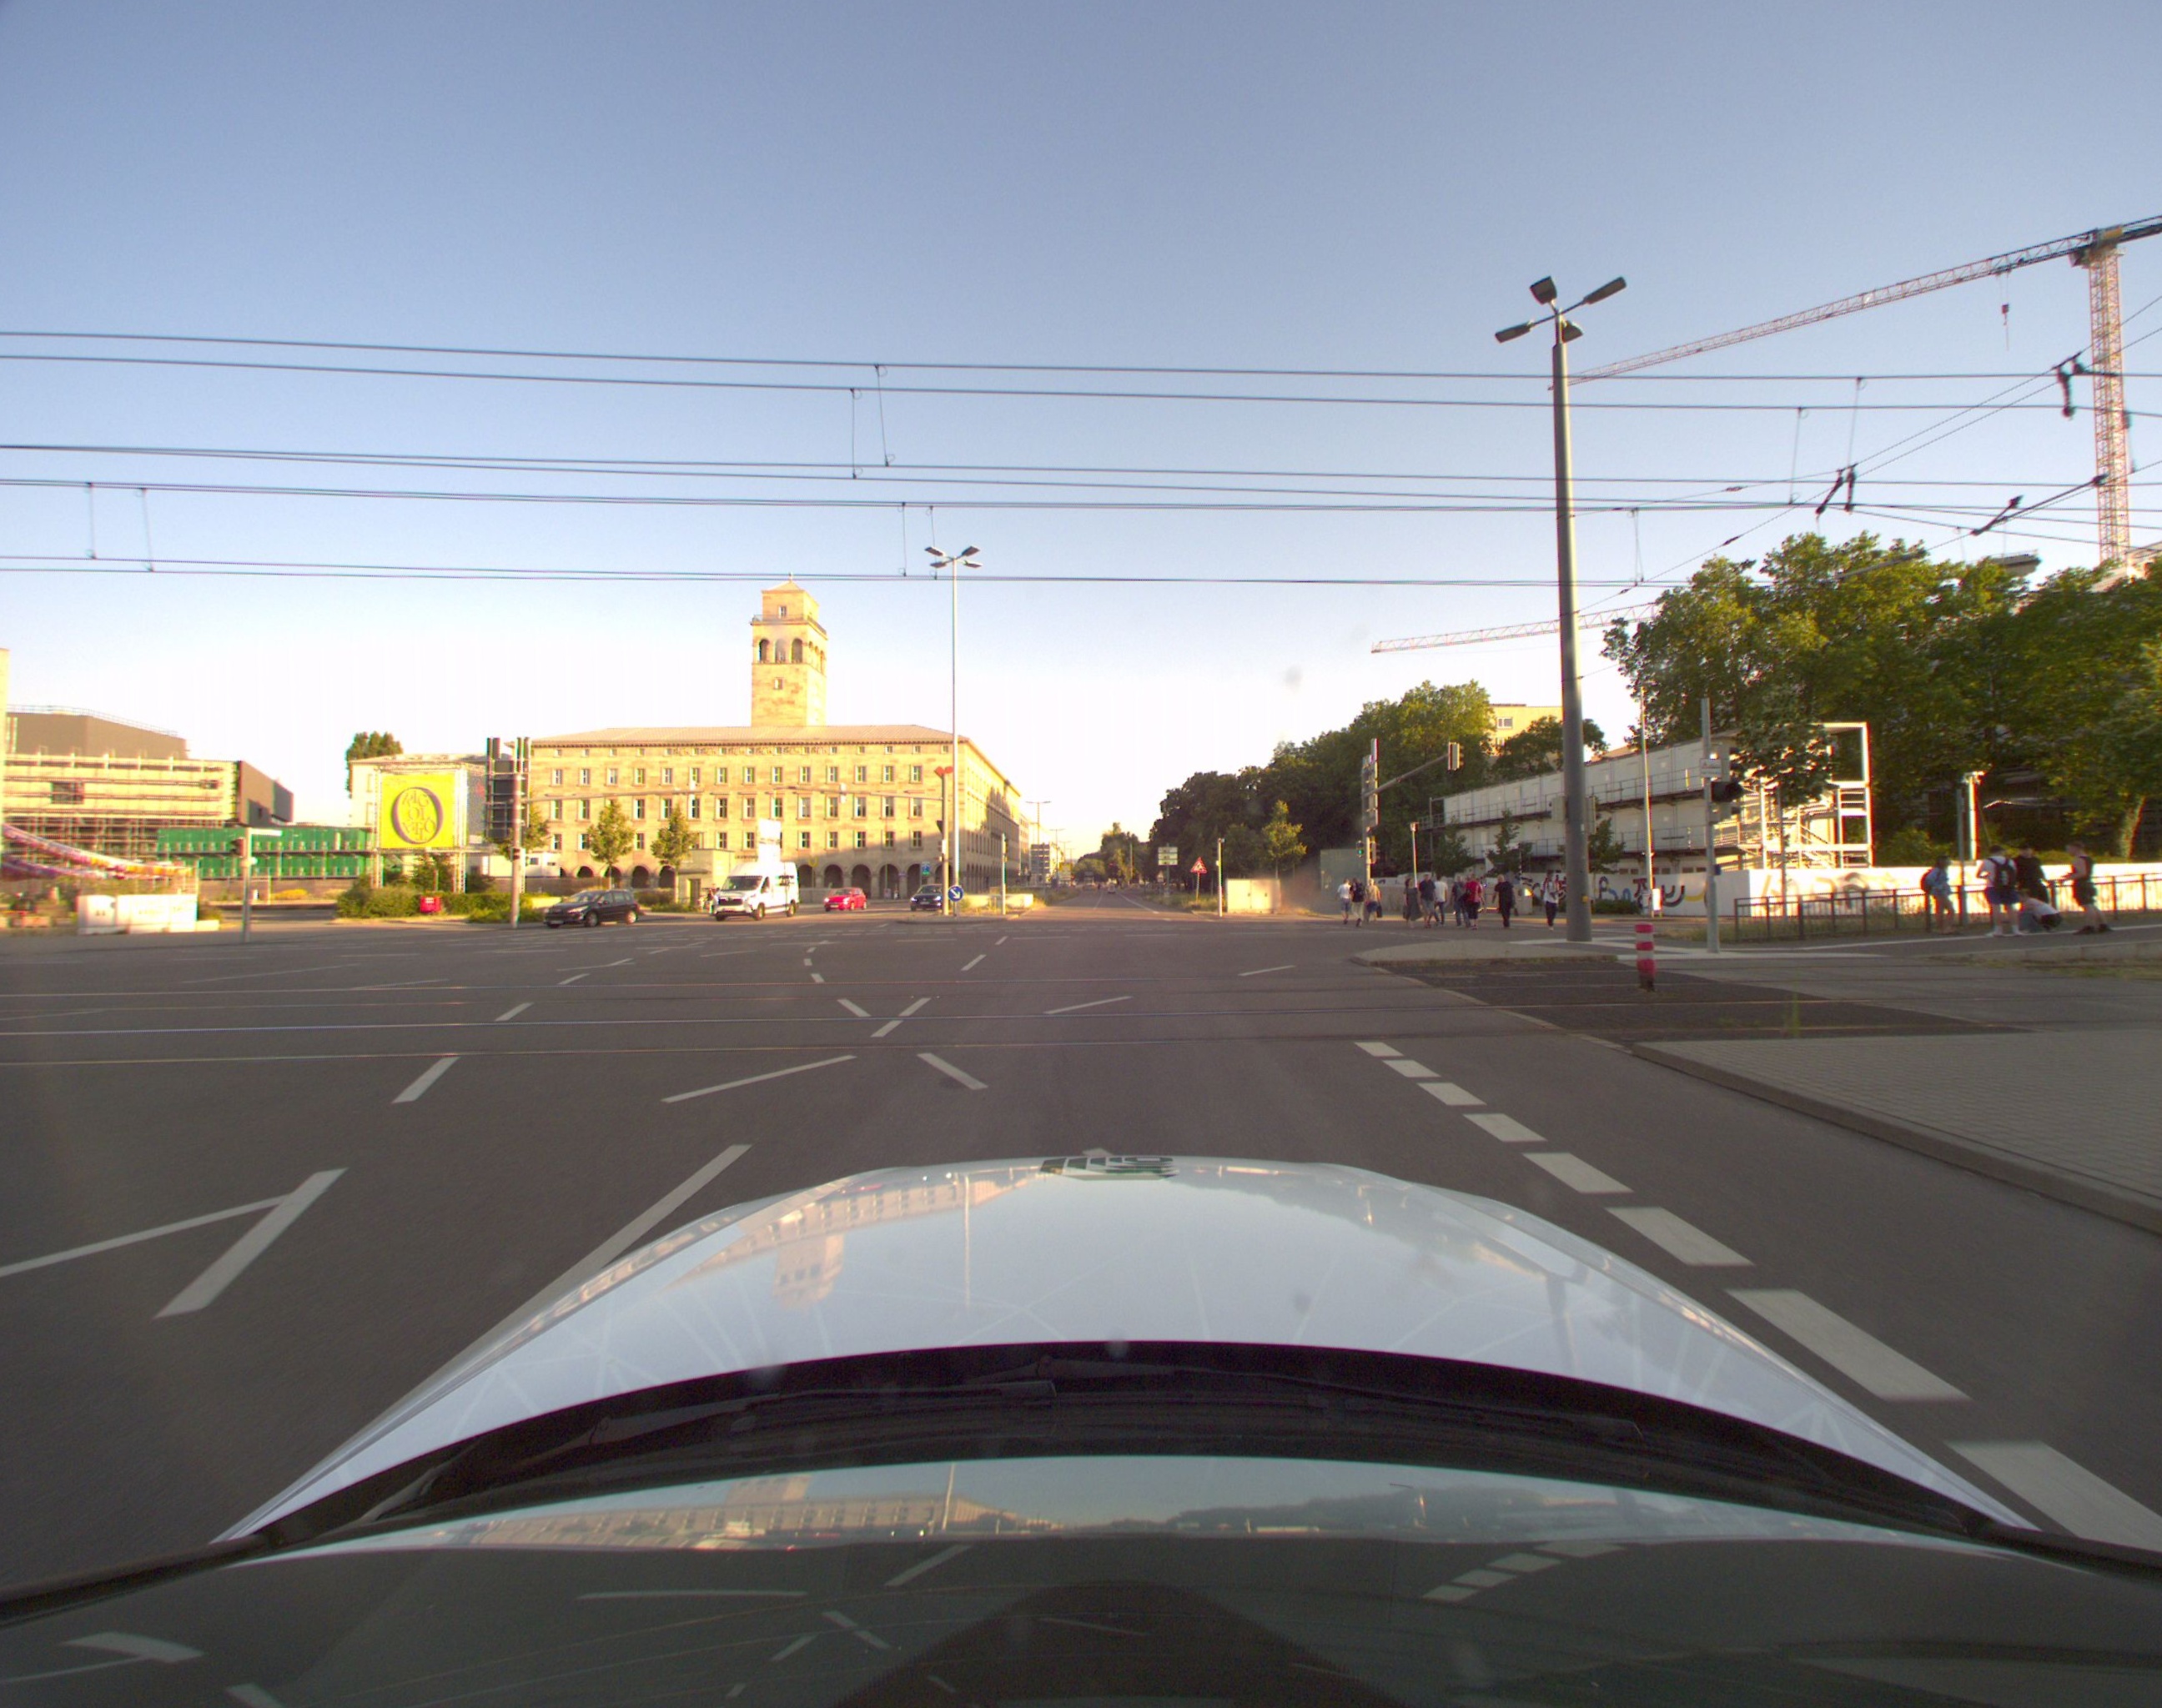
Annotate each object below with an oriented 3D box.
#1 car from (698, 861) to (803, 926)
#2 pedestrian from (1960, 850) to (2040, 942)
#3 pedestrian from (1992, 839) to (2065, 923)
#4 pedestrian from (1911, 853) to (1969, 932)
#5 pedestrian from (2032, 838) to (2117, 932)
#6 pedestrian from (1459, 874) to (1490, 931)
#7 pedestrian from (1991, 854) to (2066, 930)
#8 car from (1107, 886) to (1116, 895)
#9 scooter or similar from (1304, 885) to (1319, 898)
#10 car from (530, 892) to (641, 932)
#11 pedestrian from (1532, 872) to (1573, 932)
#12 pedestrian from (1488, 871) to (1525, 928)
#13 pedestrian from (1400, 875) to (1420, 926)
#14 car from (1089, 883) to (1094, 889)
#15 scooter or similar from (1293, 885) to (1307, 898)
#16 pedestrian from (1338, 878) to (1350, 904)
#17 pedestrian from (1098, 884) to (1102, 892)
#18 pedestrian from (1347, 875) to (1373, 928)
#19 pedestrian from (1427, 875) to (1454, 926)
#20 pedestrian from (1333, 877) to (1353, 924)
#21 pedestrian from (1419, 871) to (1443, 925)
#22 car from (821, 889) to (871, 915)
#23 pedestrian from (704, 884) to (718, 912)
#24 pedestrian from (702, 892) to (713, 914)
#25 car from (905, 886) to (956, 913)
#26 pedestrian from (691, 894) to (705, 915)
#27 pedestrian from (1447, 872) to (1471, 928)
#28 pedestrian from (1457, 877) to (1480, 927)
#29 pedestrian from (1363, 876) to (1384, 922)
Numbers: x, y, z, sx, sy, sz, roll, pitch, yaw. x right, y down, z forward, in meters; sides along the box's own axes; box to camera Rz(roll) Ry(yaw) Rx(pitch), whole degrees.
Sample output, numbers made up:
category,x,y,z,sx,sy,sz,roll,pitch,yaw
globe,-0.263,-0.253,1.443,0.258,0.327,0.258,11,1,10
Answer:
category,x,y,z,sx,sy,sz,roll,pitch,yaw
car,-15.370,1.800,38.378,2.270,2.776,6.086,-1,-2,2
pedestrian,17.611,0.799,15.629,0.706,1.725,0.670,-1,-2,12
pedestrian,20.083,0.569,17.268,0.709,1.725,0.668,-1,-2,-2
pedestrian,17.691,0.796,16.778,0.569,1.593,0.536,-1,-2,1
pedestrian,18.638,0.577,15.297,0.706,1.725,0.670,-1,-2,12
pedestrian,12.263,1.507,25.392,0.697,1.735,0.851,-1,-2,17
pedestrian,18.706,0.745,16.098,0.670,1.441,0.718,-2,-2,23
car,5.544,6.667,148.480,1.477,1.696,2.974,-1,-2,2
scooter or similar,22.285,3.623,78.868,0.567,1.203,2.983,-1,-2,0
car,-20.423,2.351,33.784,1.814,1.466,4.162,-1,-1,4
pedestrian,14.195,1.429,24.541,0.800,1.792,0.802,-1,-2,9
pedestrian,13.644,1.453,26.136,0.800,1.792,0.802,-1,-2,10
pedestrian,10.951,1.528,27.120,0.555,1.655,0.907,-1,-2,21
car,2.657,8.125,207.117,1.364,1.234,3.047,-1,-1,3
scooter or similar,21.140,3.636,78.742,0.567,1.203,2.983,-1,-2,0
pedestrian,19.037,2.672,59.012,0.663,1.843,0.714,-1,-2,6
pedestrian,3.850,6.990,166.287,0.904,1.671,1.306,-1,-2,0
pedestrian,9.398,1.588,27.471,0.706,1.725,0.918,-1,-2,11
pedestrian,12.344,1.585,27.965,0.704,1.725,0.920,-2,-2,32
pedestrian,9.946,1.757,30.928,0.705,1.725,0.671,-1,-2,18
pedestrian,11.550,1.446,26.902,0.673,1.758,0.907,-1,-2,21
car,-14.871,3.032,51.836,1.730,1.487,4.005,-1,-1,5
pedestrian,-23.111,2.726,50.918,0.620,1.744,0.459,1,-3,-5
pedestrian,-23.012,3.021,50.173,0.420,1.301,0.459,1,-3,-4
car,-8.138,2.454,44.425,1.815,1.342,4.003,-1,-1,3
pedestrian,-23.771,3.119,50.539,0.505,1.301,0.700,1,-3,-4
pedestrian,12.343,1.498,26.611,0.568,1.792,0.641,-1,-2,15
pedestrian,13.358,1.636,28.068,0.568,1.679,0.641,-1,-2,15
pedestrian,11.014,1.694,30.695,0.705,1.725,0.671,-1,-2,18
